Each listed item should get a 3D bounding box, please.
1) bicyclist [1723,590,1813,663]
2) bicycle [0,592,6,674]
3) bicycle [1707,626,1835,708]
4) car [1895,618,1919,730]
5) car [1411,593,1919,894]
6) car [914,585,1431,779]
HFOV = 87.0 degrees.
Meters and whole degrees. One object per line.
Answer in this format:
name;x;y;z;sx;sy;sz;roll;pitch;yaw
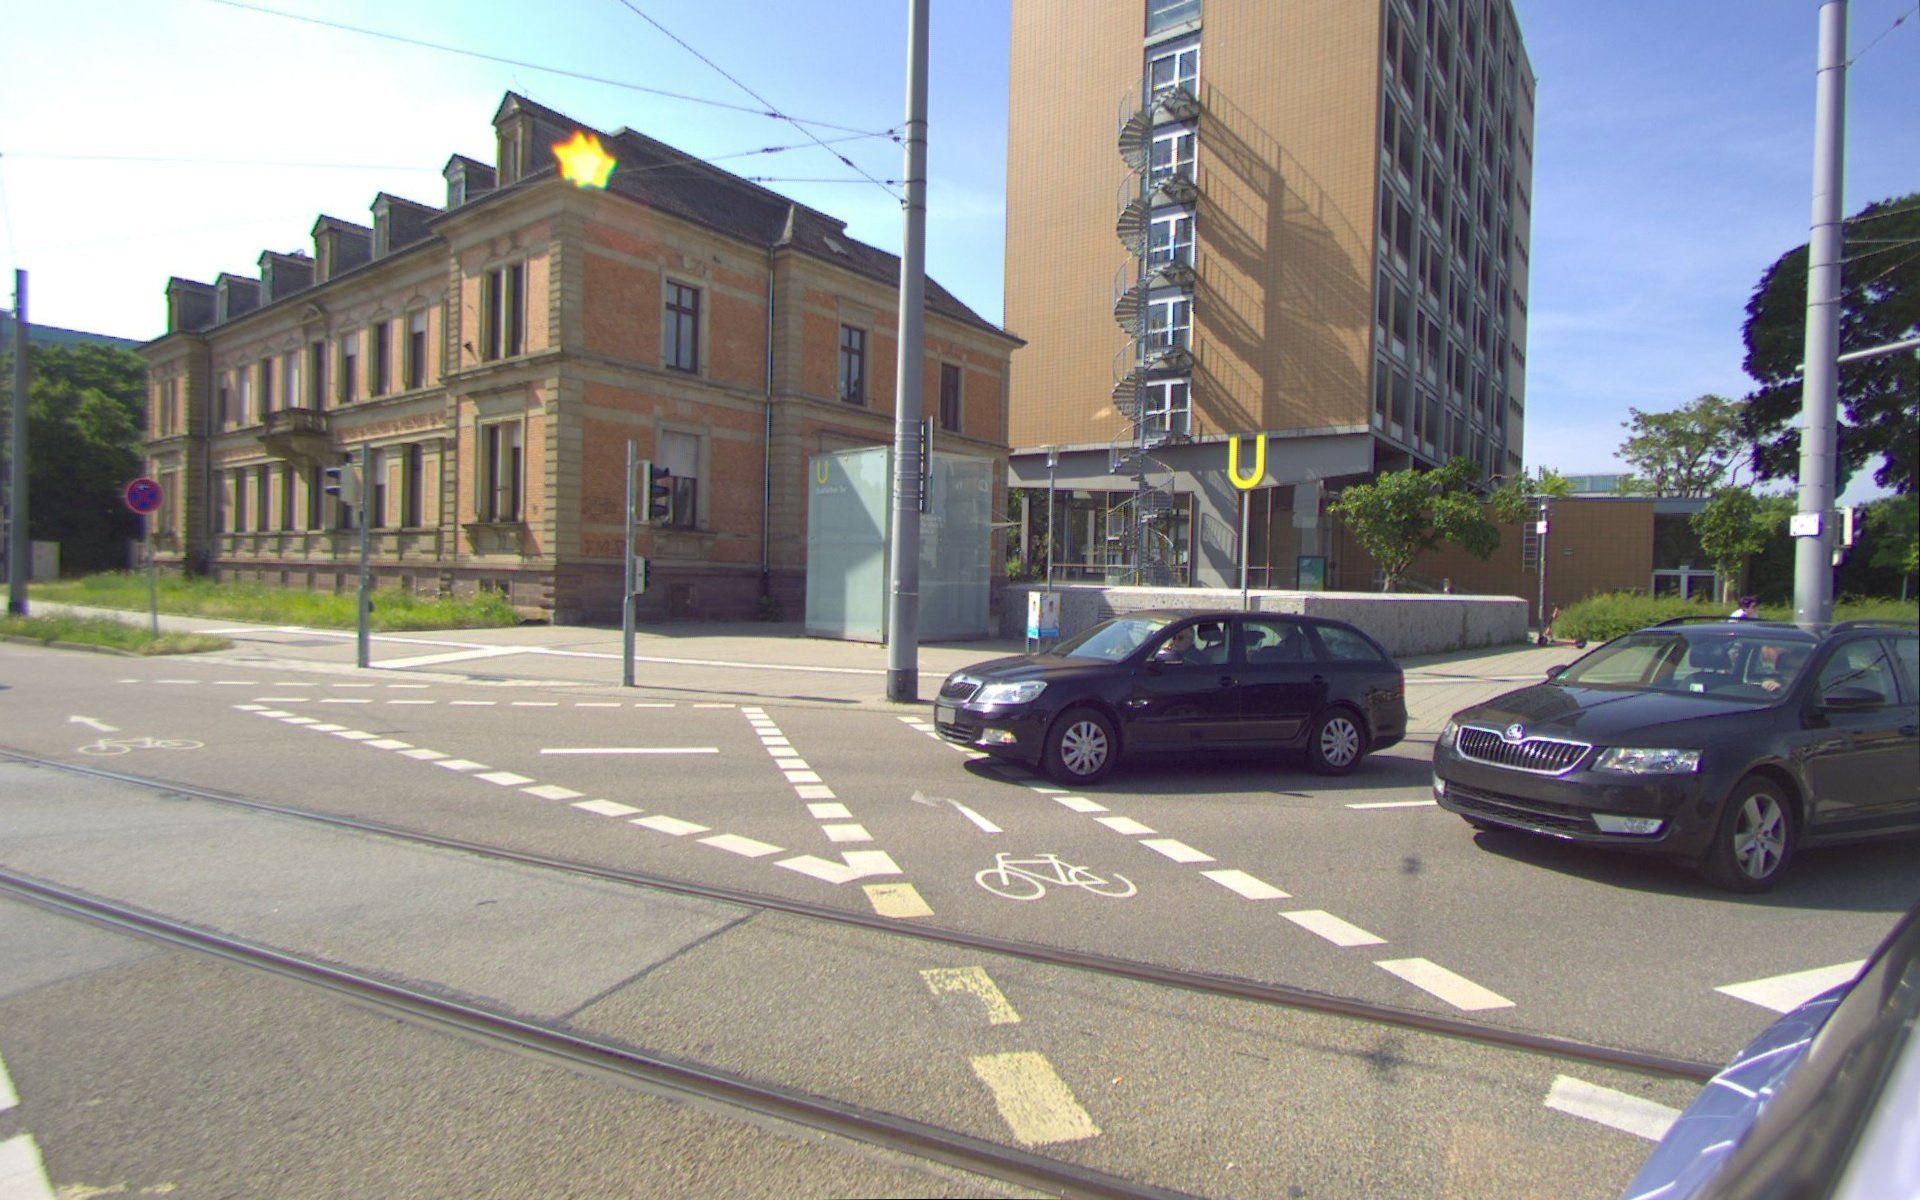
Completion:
bicyclist;12.732;0.401;15.981;0.705;1.041;0.914;2;3;11
bicycle;-12.786;0.413;12.038;0.711;1.028;1.996;-1;-1;33
bicycle;12.710;1.021;15.944;0.705;1.027;1.914;2;3;10
car;14.795;0.979;13.629;4.434;1.453;1.639;0;0;-24
car;5.335;0.730;6.561;4.679;1.453;1.639;1;-1;-23
car;1.924;0.707;9.129;4.305;1.448;1.709;3;-2;-21
